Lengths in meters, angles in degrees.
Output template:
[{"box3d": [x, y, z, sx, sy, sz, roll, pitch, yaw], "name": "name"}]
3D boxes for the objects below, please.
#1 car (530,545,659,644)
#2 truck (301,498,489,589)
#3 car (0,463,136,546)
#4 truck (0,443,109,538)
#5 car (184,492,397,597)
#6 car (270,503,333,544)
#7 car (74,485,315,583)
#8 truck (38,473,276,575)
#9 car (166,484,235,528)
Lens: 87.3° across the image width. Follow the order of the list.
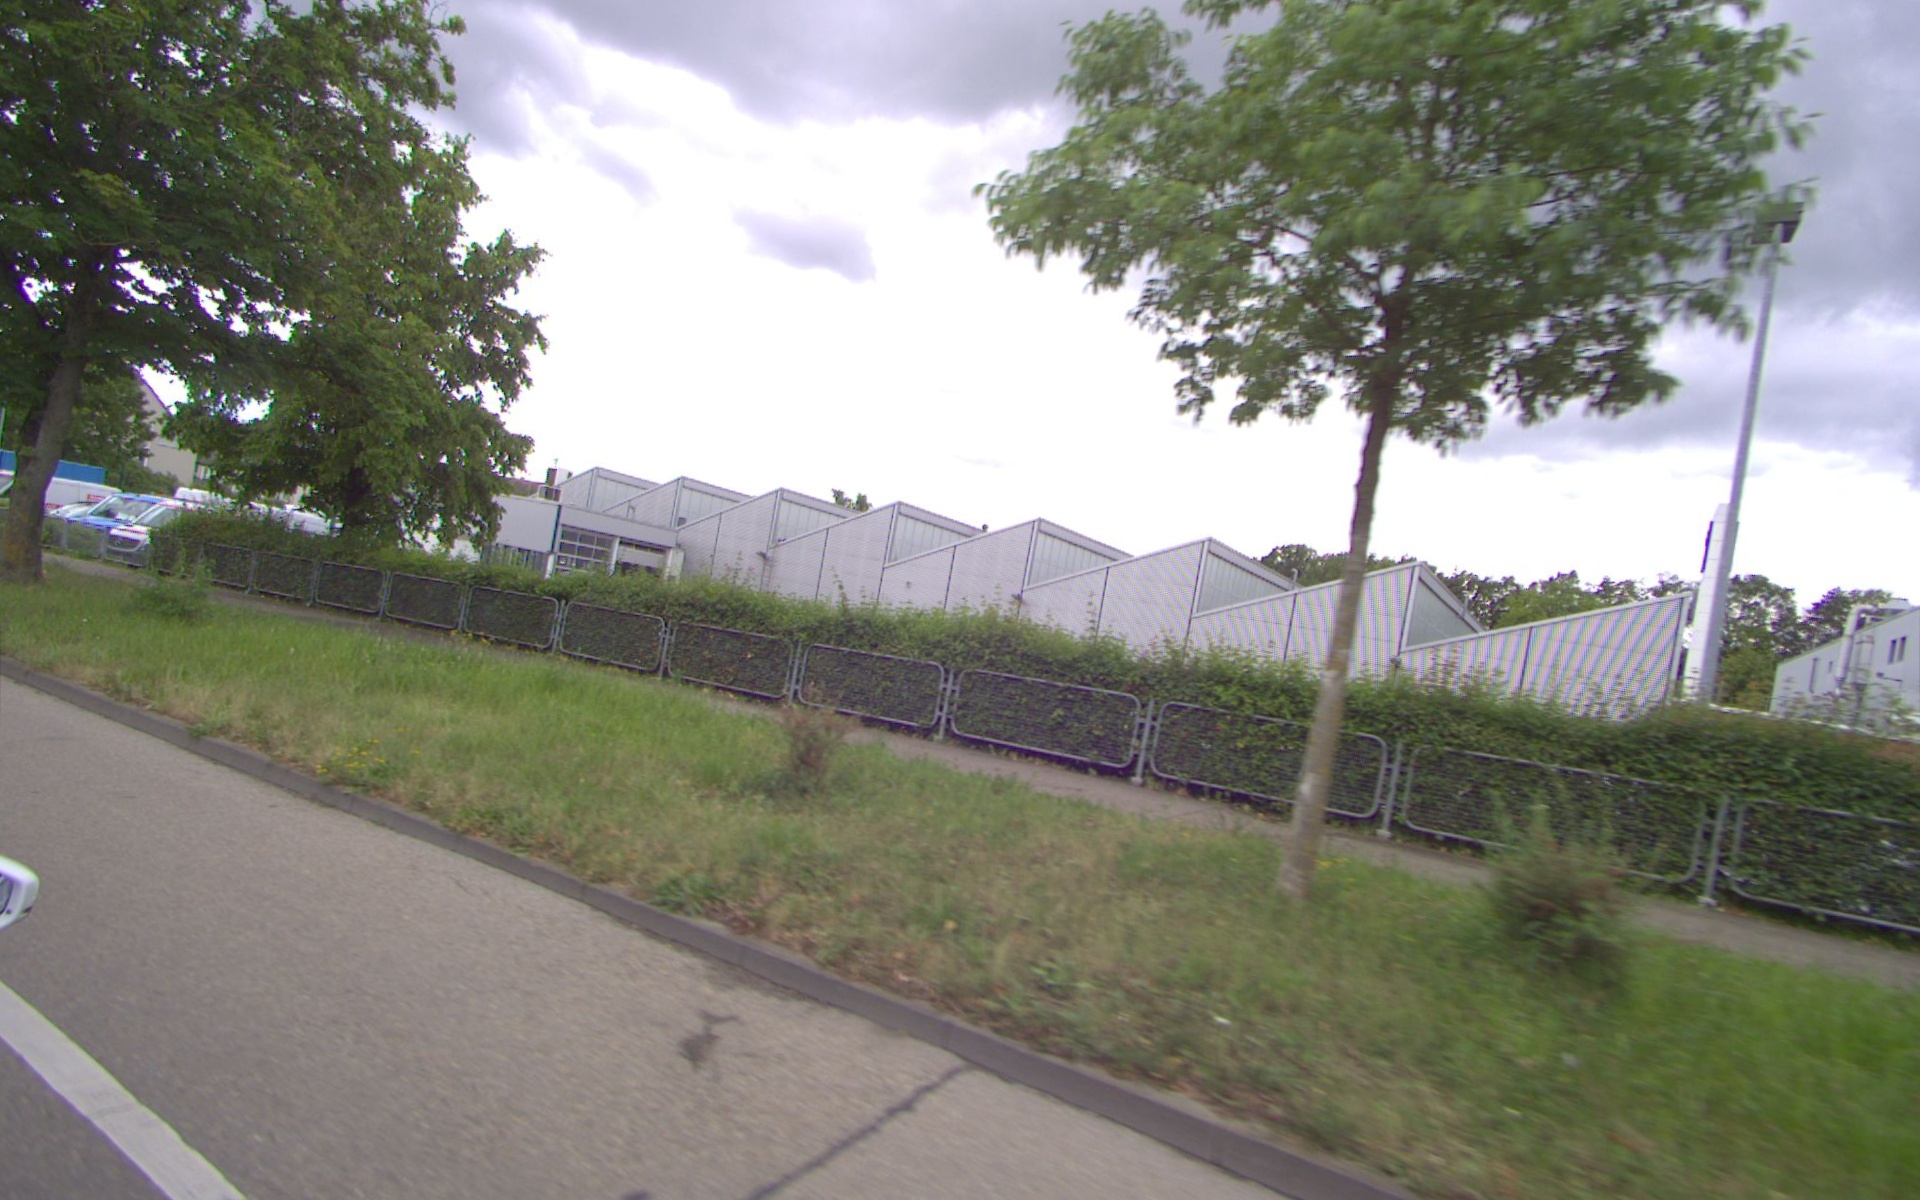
[{"box3d": [-9.309, -0.075, 26.066, 2.037, 2.057, 4.573, 8, -2, -9], "name": "car"}, {"box3d": [-29.965, -2.989, 53.344, 9.363, 3.498, 2.865, 7, -2, 19], "name": "truck"}, {"box3d": [-35.357, -3.732, 38.287, 2.317, 2.393, 6.040, 8, -2, 7], "name": "car"}, {"box3d": [-41.389, -4.940, 43.245, 2.569, 3.518, 7.193, 8, -1, 7], "name": "truck"}, {"box3d": [-19.185, -1.477, 29.249, 2.032, 2.212, 5.269, 8, -2, 6], "name": "car"}, {"box3d": [-51.936, -5.987, 79.436, 2.228, 2.709, 5.431, 9, 1, -15], "name": "car"}, {"box3d": [-22.885, -1.875, 30.494, 2.032, 1.978, 5.836, 8, -3, 9], "name": "car"}, {"box3d": [-25.727, -2.304, 32.691, 2.205, 2.237, 6.261, 8, -2, 3], "name": "truck"}, {"box3d": [-55.812, -6.830, 74.062, 2.232, 2.709, 5.422, 9, 1, -20], "name": "car"}]
